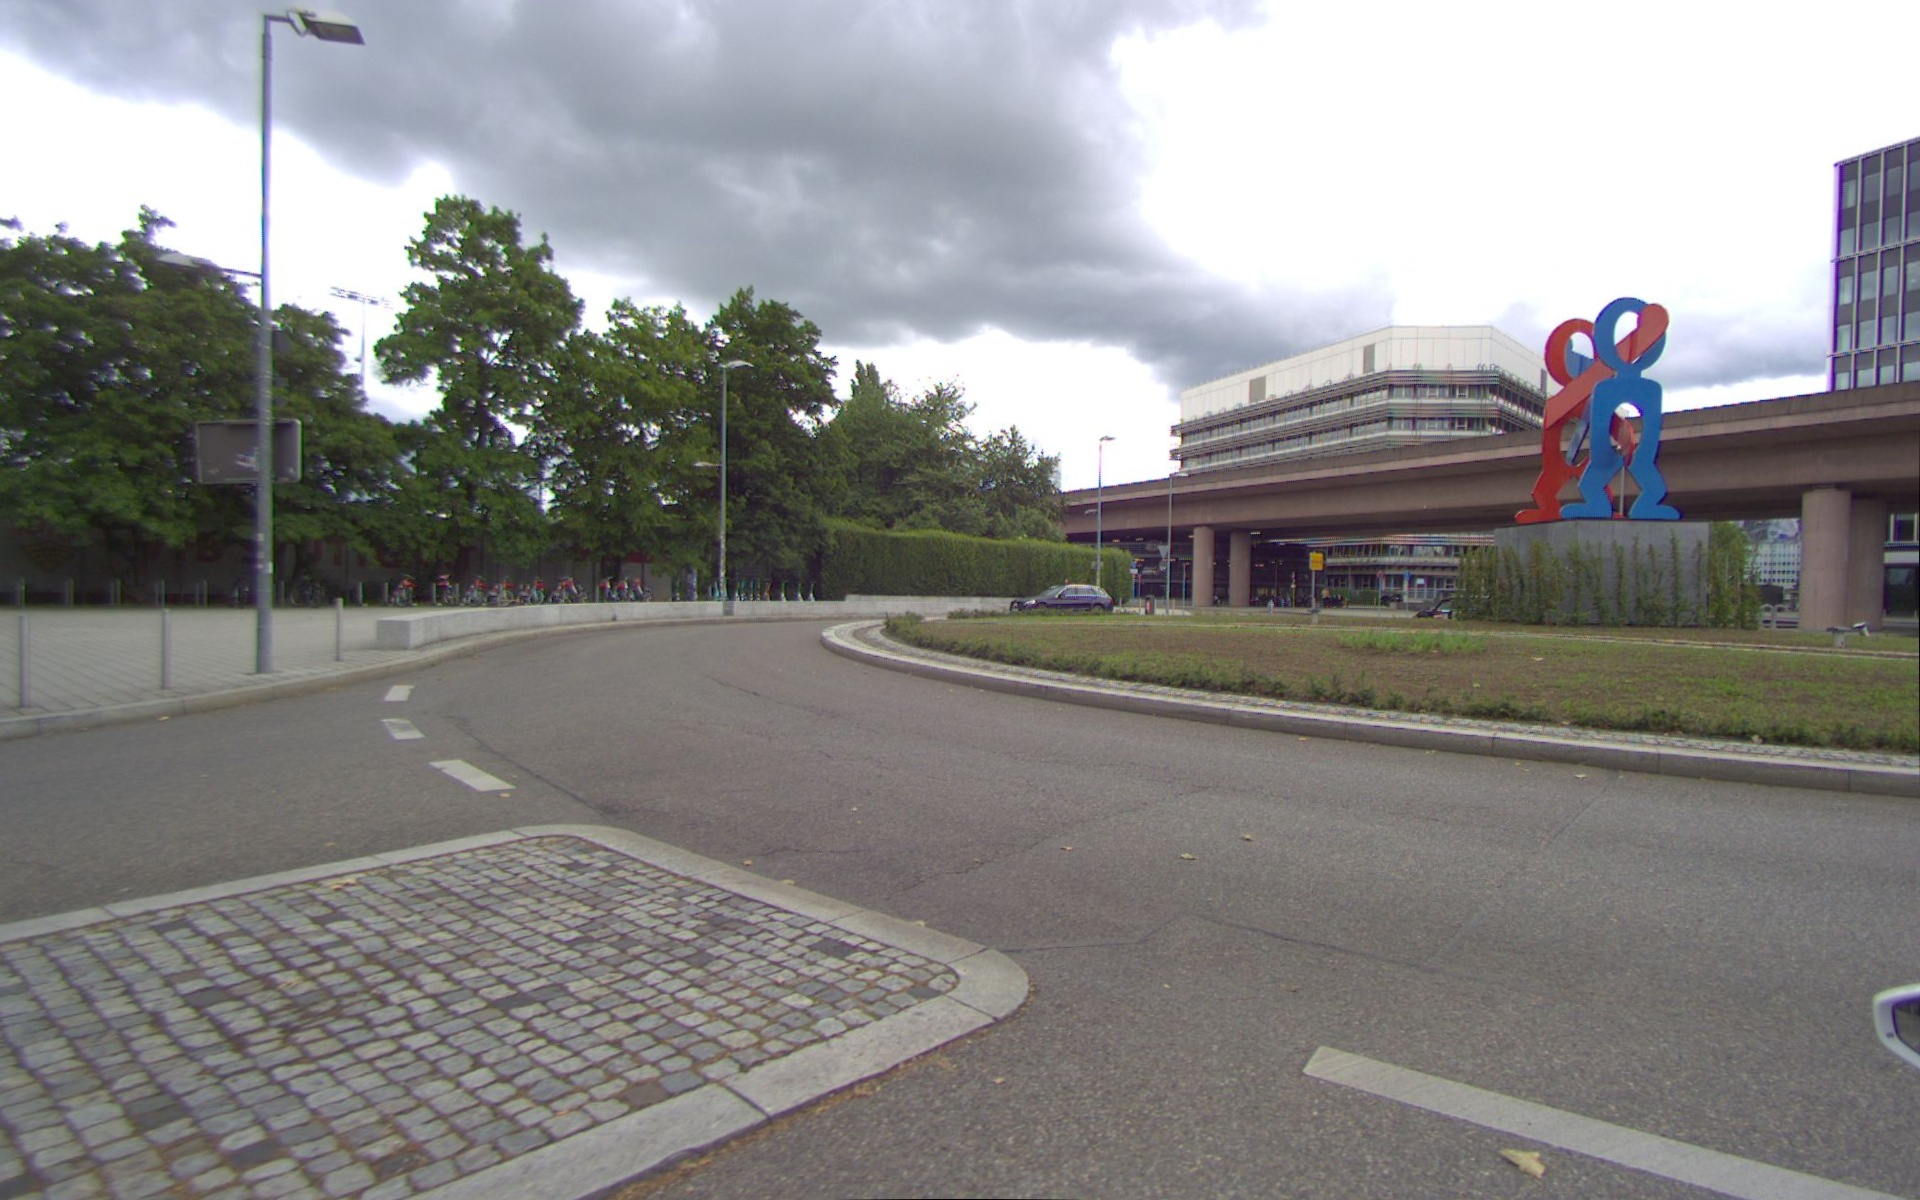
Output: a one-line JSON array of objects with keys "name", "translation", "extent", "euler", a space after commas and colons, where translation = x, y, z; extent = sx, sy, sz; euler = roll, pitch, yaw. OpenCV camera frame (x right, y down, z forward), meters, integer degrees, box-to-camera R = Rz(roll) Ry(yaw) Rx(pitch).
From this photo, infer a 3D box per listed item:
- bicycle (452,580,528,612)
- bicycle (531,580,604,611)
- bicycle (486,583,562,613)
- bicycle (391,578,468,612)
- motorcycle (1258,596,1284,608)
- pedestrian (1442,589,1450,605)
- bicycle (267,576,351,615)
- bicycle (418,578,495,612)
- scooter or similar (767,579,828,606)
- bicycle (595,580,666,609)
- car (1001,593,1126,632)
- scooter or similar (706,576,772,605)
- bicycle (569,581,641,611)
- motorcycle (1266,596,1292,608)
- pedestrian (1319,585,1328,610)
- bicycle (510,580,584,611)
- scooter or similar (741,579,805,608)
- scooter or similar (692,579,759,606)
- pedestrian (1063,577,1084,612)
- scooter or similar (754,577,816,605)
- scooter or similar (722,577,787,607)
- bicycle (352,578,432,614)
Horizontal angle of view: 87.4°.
[{"name": "bicycle", "translation": [-17.569, -0.172, 37.492], "extent": [3.132, 1.112, 0.772], "euler": [2, 1, 26]}, {"name": "bicycle", "translation": [-15.687, -0.179, 40.140], "extent": [3.132, 1.112, 0.772], "euler": [2, 1, 26]}, {"name": "bicycle", "translation": [-16.520, -0.076, 38.036], "extent": [3.132, 1.112, 0.772], "euler": [0, 0, 26]}, {"name": "bicycle", "translation": [-18.988, -0.187, 35.919], "extent": [3.132, 1.112, 0.772], "euler": [3, 1, 27]}, {"name": "motorcycle", "translation": [32.348, 0.176, 104.443], "extent": [1.026, 1.127, 2.642], "euler": [1, 1, -27]}, {"name": "pedestrian", "translation": [62.486, -0.438, 129.141], "extent": [0.767, 2.041, 0.667], "euler": [2, 2, 42]}, {"name": "bicycle", "translation": [-20.884, -0.149, 32.186], "extent": [3.132, 1.112, 0.772], "euler": [3, 1, 27]}, {"name": "bicycle", "translation": [-18.419, -0.197, 36.714], "extent": [3.132, 1.112, 0.772], "euler": [2, 1, 26]}, {"name": "scooter or similar", "translation": [-8.114, -0.378, 50.175], "extent": [3.132, 1.266, 0.772], "euler": [2, 1, 26]}, {"name": "bicycle", "translation": [-13.821, -0.228, 42.103], "extent": [3.132, 1.112, 0.772], "euler": [2, 1, 26]}, {"name": "car", "translation": [4.326, 0.515, 42.054], "extent": [4.868, 1.480, 1.987], "euler": [1, 1, -26]}, {"name": "scooter or similar", "translation": [-10.141, -0.444, 46.016], "extent": [3.132, 1.266, 0.772], "euler": [2, 1, 26]}, {"name": "bicycle", "translation": [-14.553, -0.156, 41.139], "extent": [3.132, 1.112, 0.772], "euler": [2, 1, 26]}, {"name": "motorcycle", "translation": [33.410, 0.197, 105.163], "extent": [1.026, 1.127, 2.642], "euler": [1, 1, -27]}, {"name": "pedestrian", "translation": [30.398, -0.217, 84.047], "extent": [0.579, 2.041, 0.598], "euler": [2, 1, 30]}, {"name": "bicycle", "translation": [-16.119, -0.178, 39.142], "extent": [3.132, 1.112, 0.772], "euler": [2, 1, 26]}, {"name": "scooter or similar", "translation": [-9.019, -0.327, 48.346], "extent": [3.132, 1.266, 0.772], "euler": [2, 1, 26]}, {"name": "scooter or similar", "translation": [-10.536, -0.352, 45.157], "extent": [3.132, 1.112, 0.772], "euler": [2, 1, 26]}, {"name": "pedestrian", "translation": [6.749, -0.328, 59.925], "extent": [1.027, 2.041, 0.598], "euler": [2, 1, 30]}, {"name": "scooter or similar", "translation": [-8.601, -0.431, 49.384], "extent": [3.132, 1.266, 0.772], "euler": [2, 1, 26]}, {"name": "scooter or similar", "translation": [-9.621, -0.388, 47.012], "extent": [3.132, 1.266, 0.772], "euler": [2, 1, 26]}, {"name": "bicycle", "translation": [-19.646, -0.147, 34.717], "extent": [3.132, 1.112, 0.772], "euler": [3, 1, 27]}]
